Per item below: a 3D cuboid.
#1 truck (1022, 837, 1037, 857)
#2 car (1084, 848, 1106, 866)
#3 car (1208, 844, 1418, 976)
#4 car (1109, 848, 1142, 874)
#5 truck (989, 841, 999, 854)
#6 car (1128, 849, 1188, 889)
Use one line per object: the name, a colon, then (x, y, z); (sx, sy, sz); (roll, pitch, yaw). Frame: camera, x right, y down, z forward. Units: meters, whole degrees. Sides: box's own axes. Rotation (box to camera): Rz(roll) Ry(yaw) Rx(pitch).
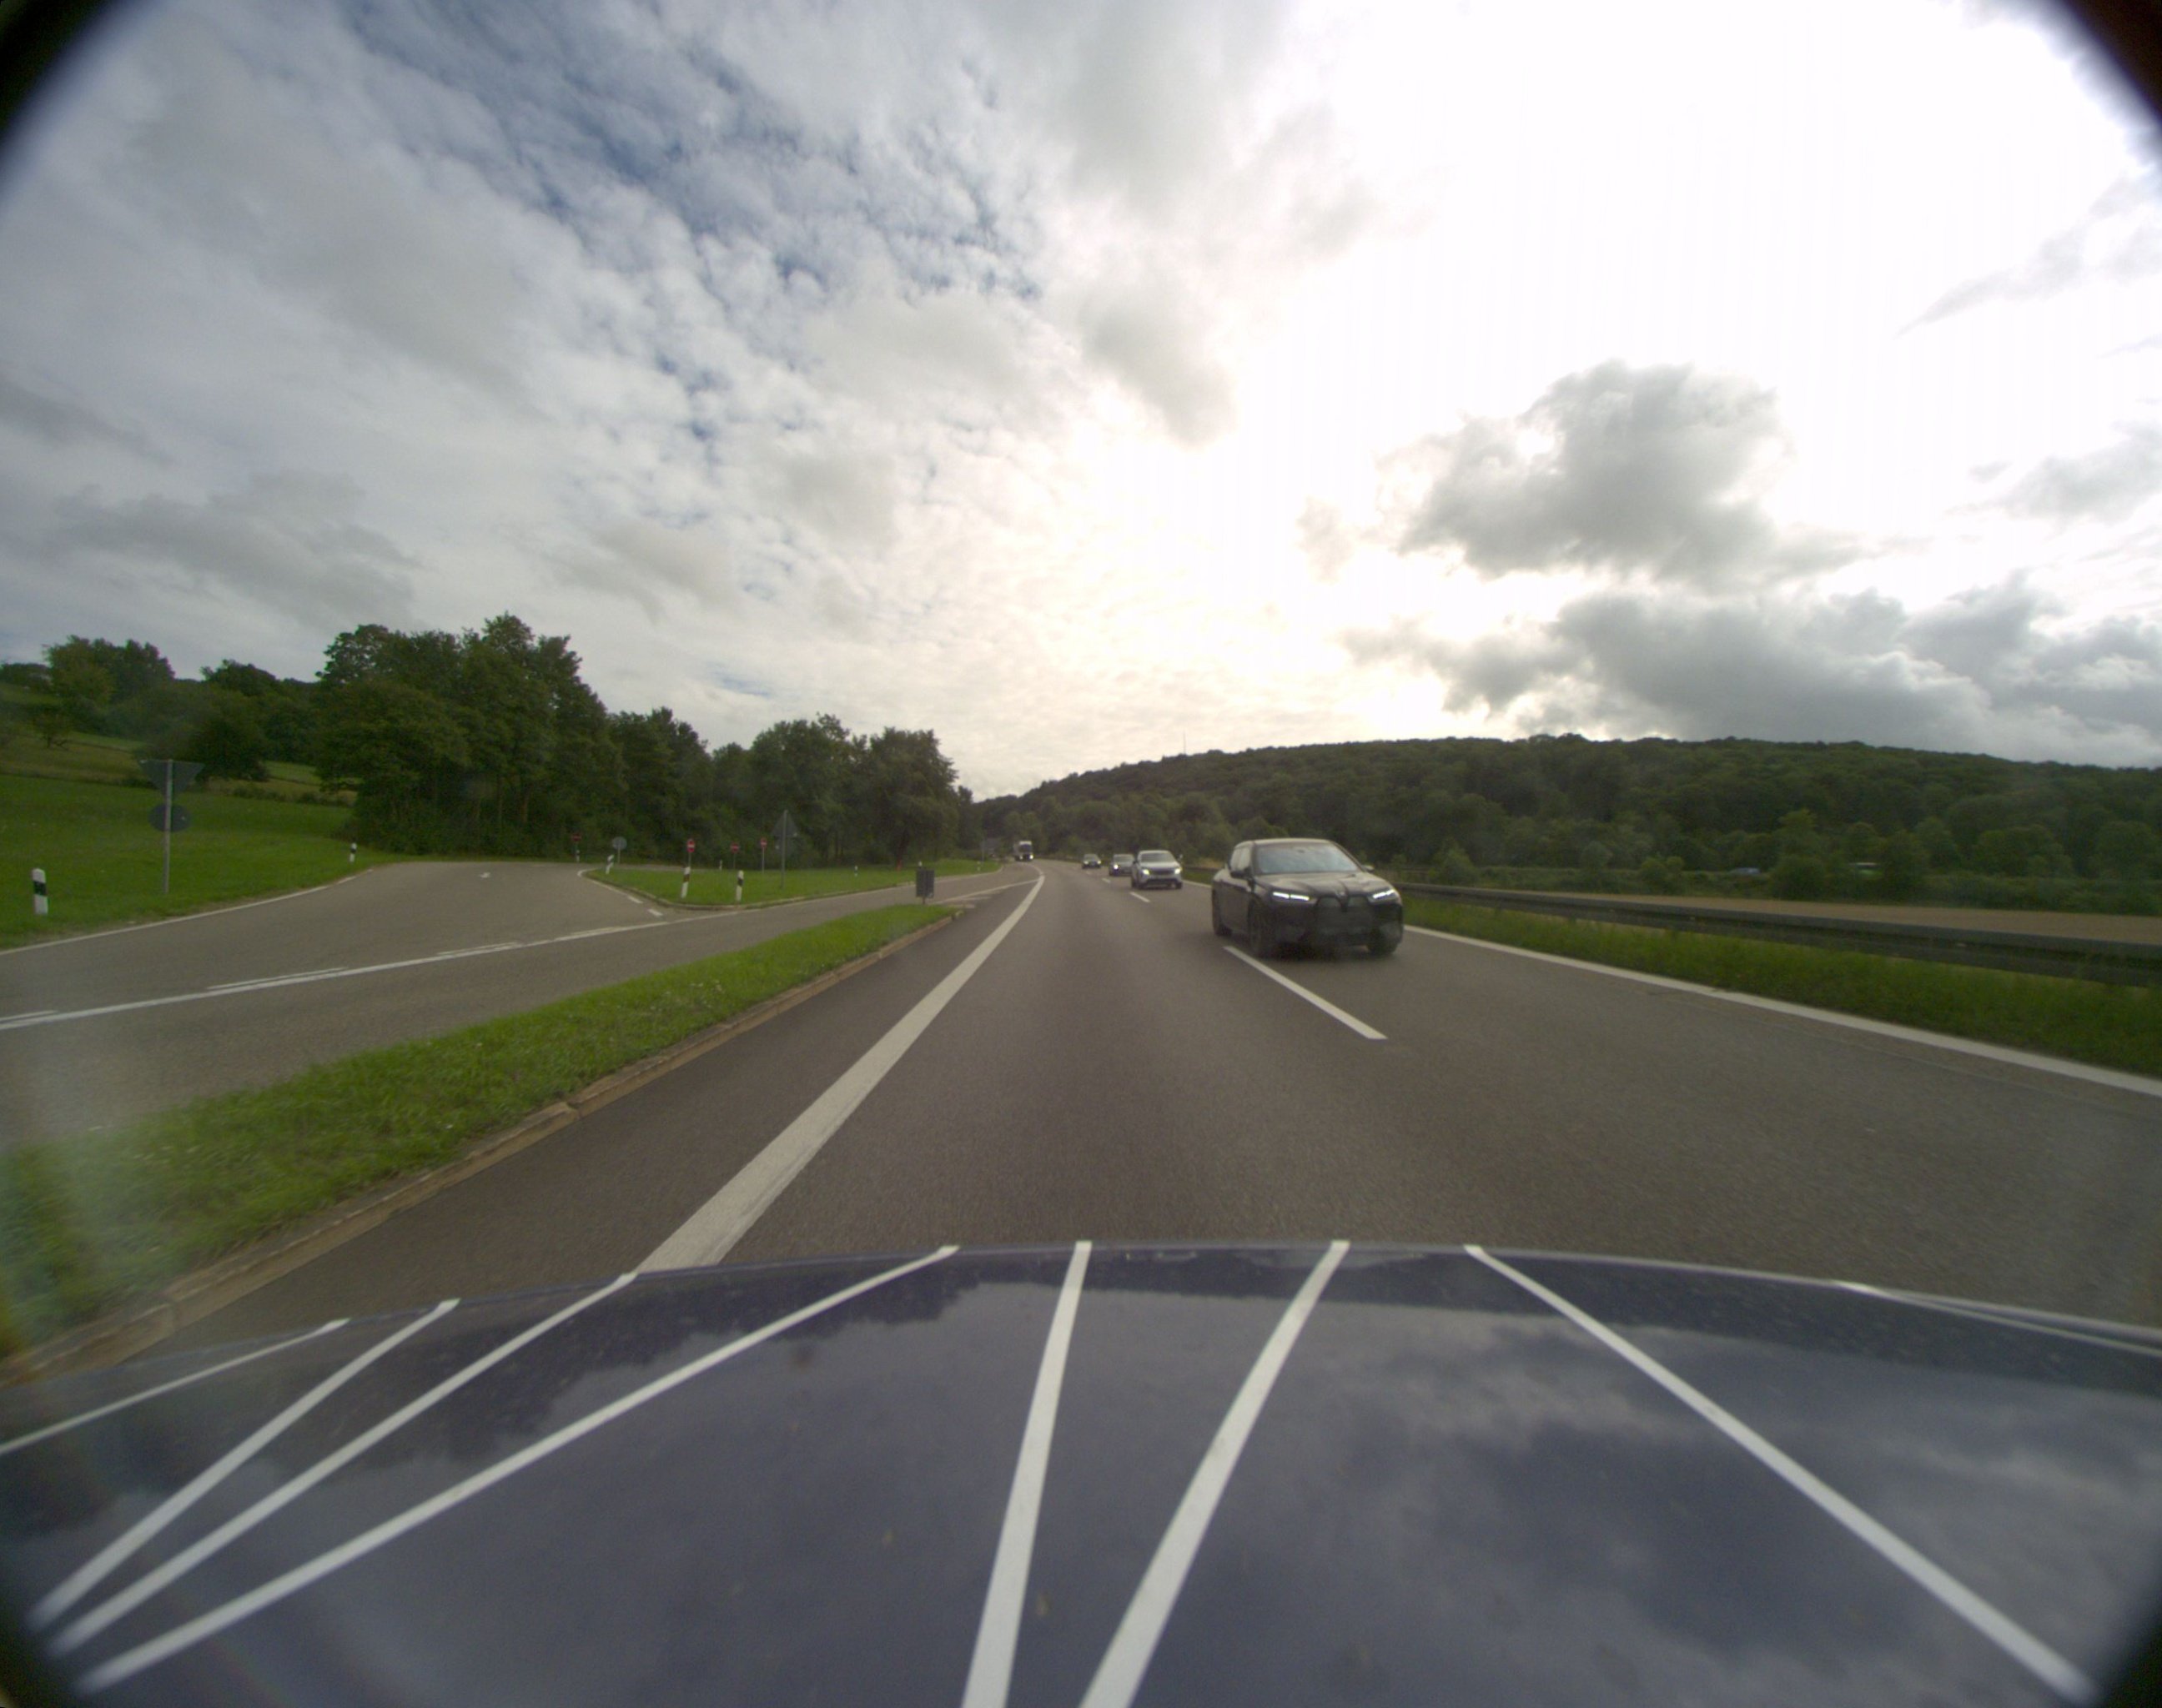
truck: (-10.313, -1.463, 152.952); (2.796, 3.949, 5.937); (0, 1, -1)
car: (1.390, 0.257, 76.276); (1.999, 1.656, 4.412); (0, 2, -2)
car: (3.353, 0.712, 11.985); (1.998, 1.656, 4.415); (-1, 0, 1)
car: (3.041, 0.459, 52.657); (1.999, 1.656, 4.413); (0, 1, -1)
truck: (-27.387, -2.067, 239.190); (2.797, 3.949, 5.933); (-1, 2, -9)
car: (3.296, 0.623, 33.418); (1.999, 1.656, 4.414); (0, 0, -2)
